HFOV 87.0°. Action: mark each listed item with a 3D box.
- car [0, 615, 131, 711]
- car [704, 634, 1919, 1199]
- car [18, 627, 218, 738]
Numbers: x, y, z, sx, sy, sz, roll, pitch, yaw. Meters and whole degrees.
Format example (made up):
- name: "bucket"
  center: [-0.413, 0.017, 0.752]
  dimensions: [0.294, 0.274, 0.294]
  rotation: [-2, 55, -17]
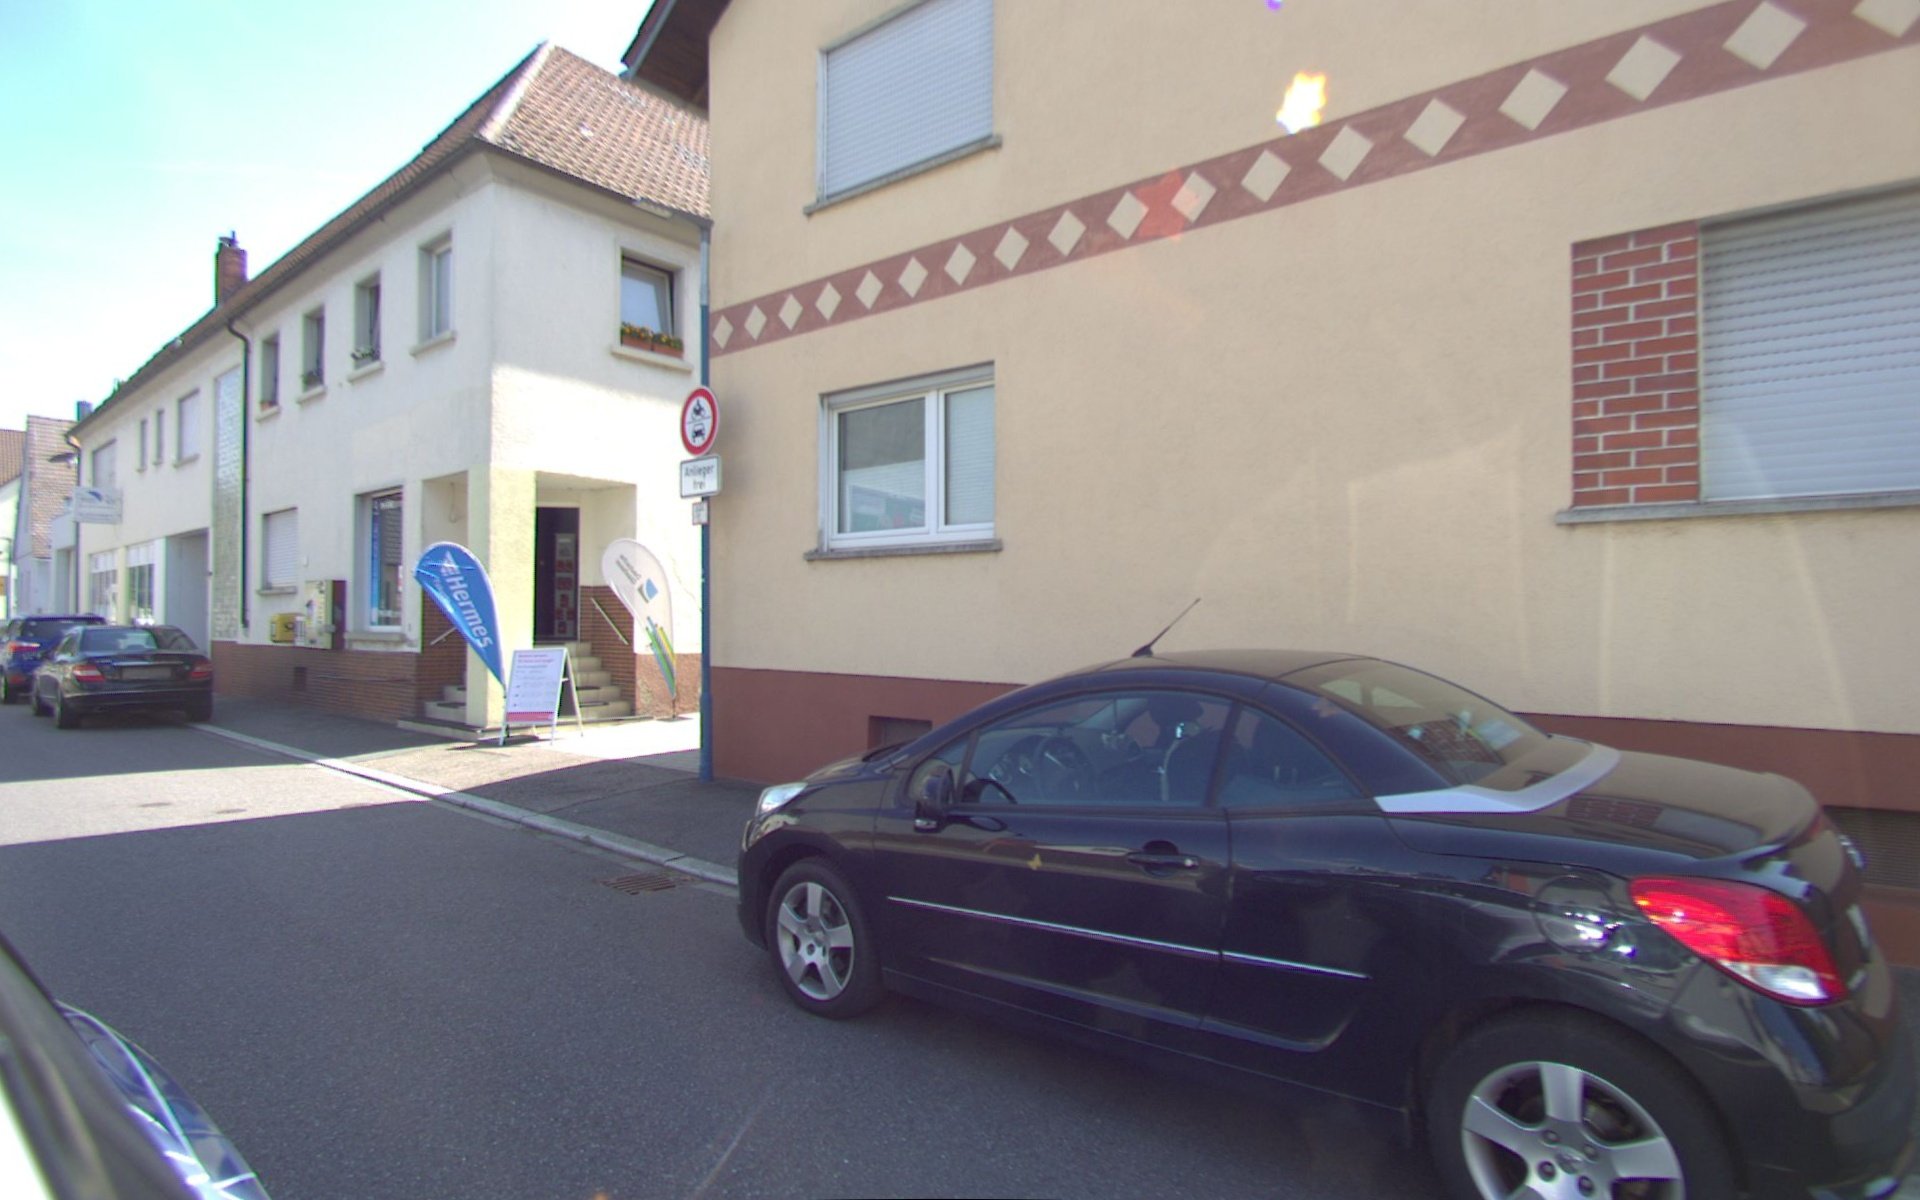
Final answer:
- name: "car"
  center: [-17.596, 1.170, 19.503]
  dimensions: [4.145, 1.652, 1.700]
  rotation: [-1, -4, 40]
- name: "car"
  center: [1.044, 0.848, 3.514]
  dimensions: [4.064, 1.384, 1.743]
  rotation: [-1, -1, 41]
- name: "car"
  center: [-12.830, 1.136, 15.326]
  dimensions: [4.388, 1.422, 1.680]
  rotation: [-1, -2, 41]
